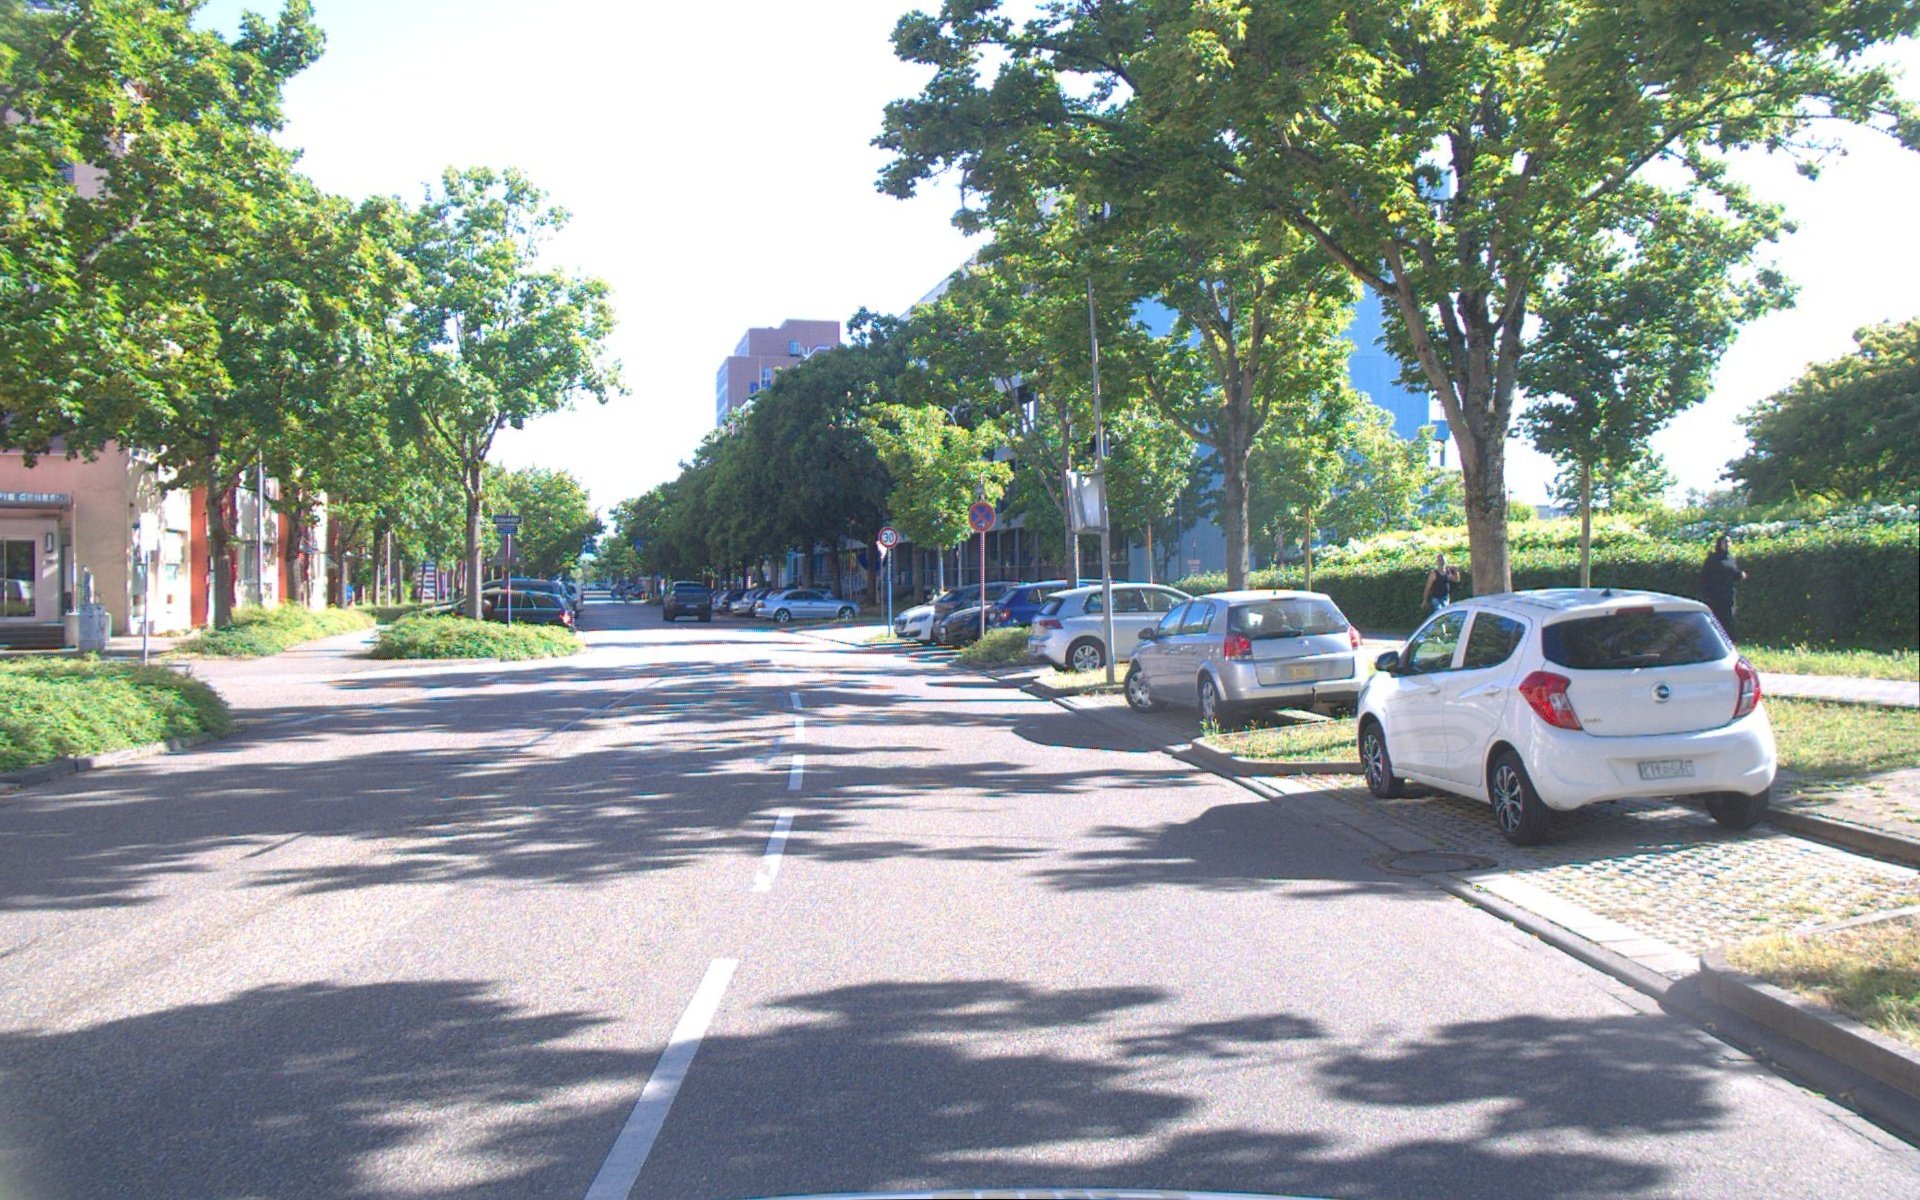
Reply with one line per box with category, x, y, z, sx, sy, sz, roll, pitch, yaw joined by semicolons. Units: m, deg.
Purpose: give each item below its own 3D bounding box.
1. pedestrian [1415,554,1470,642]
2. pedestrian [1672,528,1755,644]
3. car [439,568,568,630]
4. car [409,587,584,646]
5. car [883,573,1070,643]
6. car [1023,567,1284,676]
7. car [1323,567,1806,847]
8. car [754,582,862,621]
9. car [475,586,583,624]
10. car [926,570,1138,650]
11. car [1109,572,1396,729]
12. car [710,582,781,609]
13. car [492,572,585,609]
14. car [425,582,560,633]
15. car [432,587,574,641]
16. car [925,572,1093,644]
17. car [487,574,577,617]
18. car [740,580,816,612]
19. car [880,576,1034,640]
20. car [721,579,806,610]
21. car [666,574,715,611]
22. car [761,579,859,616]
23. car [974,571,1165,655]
pedestrian;8.799;-0.034;30.181;0.596;1.569;0.934;-1;0;-11
pedestrian;10.725;-0.199;23.556;0.711;1.615;0.850;-1;0;-12
car;-14.439;-0.024;52.517;3.825;1.843;1.780;1;0;-14
car;-12.024;0.425;43.131;4.185;1.448;1.735;1;0;-10
car;0.421;0.204;43.323;4.482;1.541;1.971;-3;0;-20
car;3.204;0.340;27.800;4.012;1.454;1.640;-5;1;-7
car;3.924;0.598;11.447;1.611;1.519;3.761;-3;1;-6
car;-6.674;0.037;72.568;4.499;1.501;1.741;-2;1;-13
car;-18.080;0.206;69.451;4.330;1.452;1.765;1;0;-16
car;1.645;0.216;38.373;4.472;1.541;2.151;-3;0;-13
car;3.253;0.509;19.403;1.776;1.519;4.612;-3;1;-10
car;-12.585;-0.265;96.963;3.905;1.444;1.703;-2;1;-16
car;-24.476;-0.527;96.158;5.168;2.001;1.936;1;0;-14
car;-14.160;0.219;50.270;3.825;1.448;1.733;1;0;-14
car;-13.127;0.404;47.721;3.825;1.448;1.733;1;0;-14
car;1.193;0.194;40.880;3.809;1.541;1.745;-3;0;-13
car;-22.321;-0.244;86.452;4.408;2.126;2.077;1;0;-12
car;-9.560;-0.235;86.798;3.688;1.519;1.607;-2;1;-20
car;-0.094;0.220;45.858;3.889;1.541;1.692;-3;0;-20
car;-10.641;-0.288;89.630;4.223;1.519;1.992;-2;1;-20
car;-12.677;-0.359;77.615;1.959;1.668;3.986;1;0;-13
car;-7.113;-0.128;78.025;4.433;1.569;1.917;-2;1;-10
car;2.339;0.258;35.786;3.739;1.473;1.740;-5;1;-12
